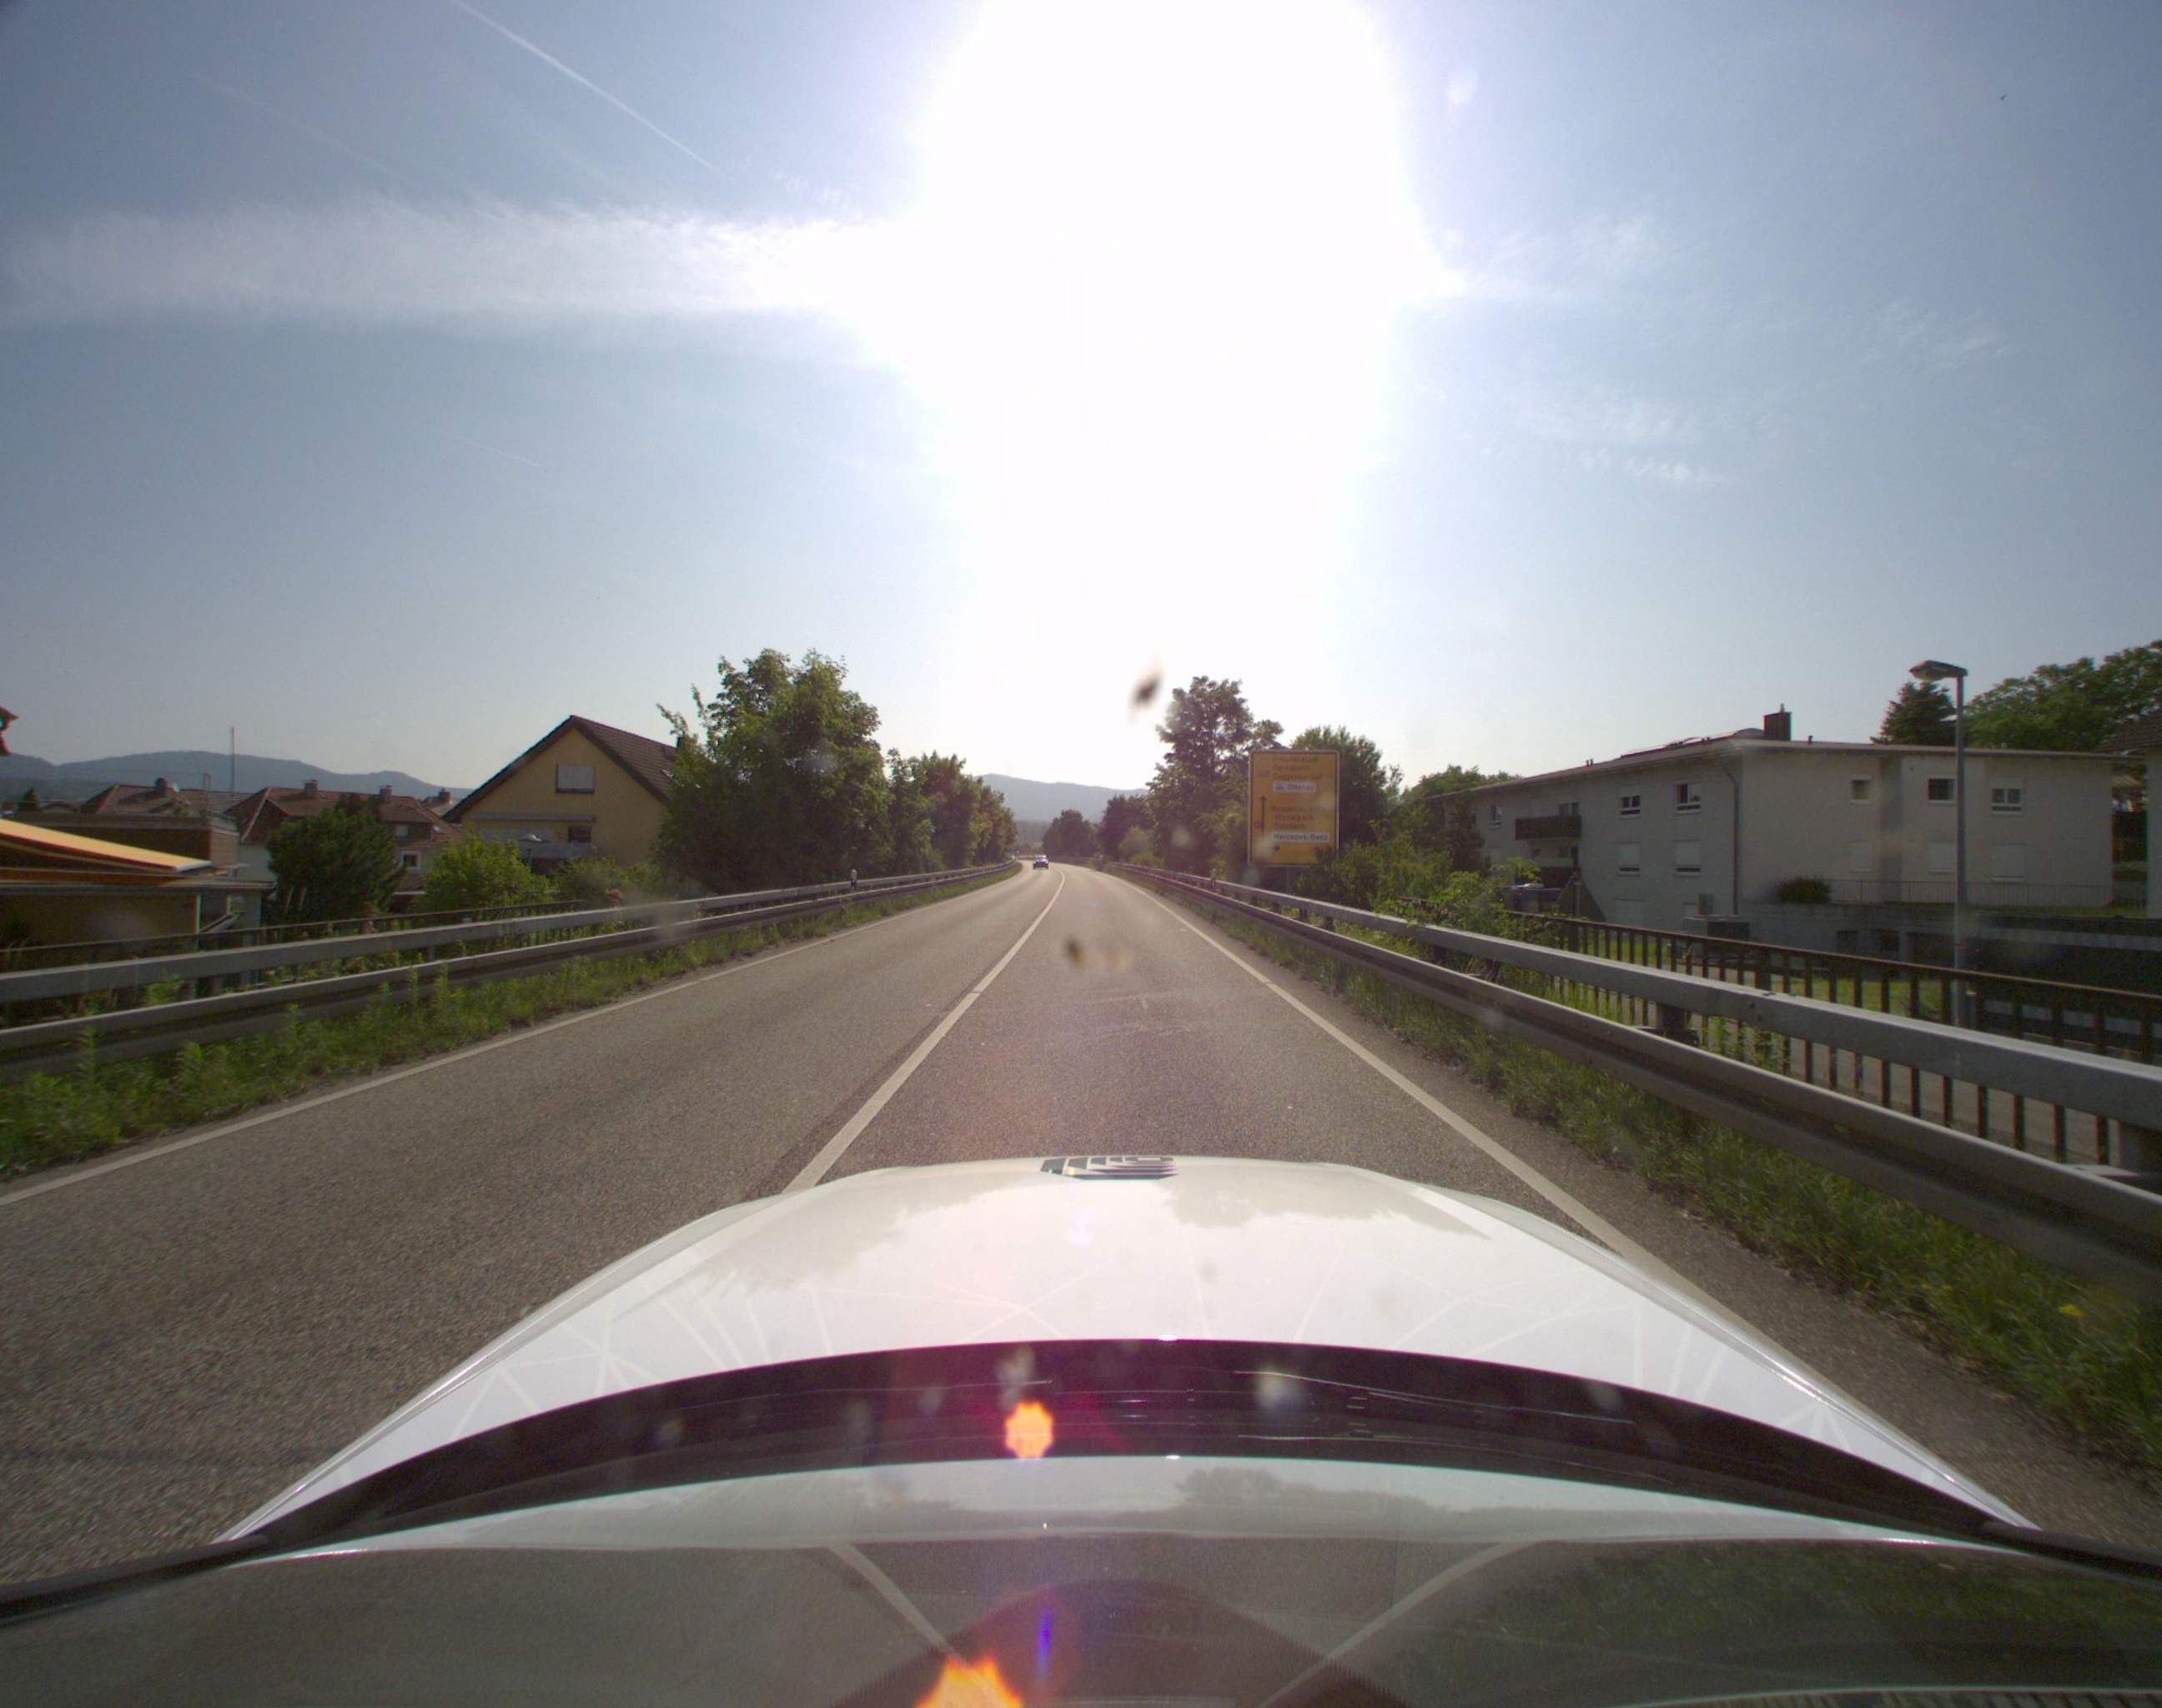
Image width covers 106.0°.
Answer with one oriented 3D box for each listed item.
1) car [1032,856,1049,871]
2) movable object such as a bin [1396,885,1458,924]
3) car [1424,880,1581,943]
[{"bbox_3d":[-4.662,1.071,94.078,1.802,1.561,3.990,-2,0,-2],"label":"car"},{"bbox_3d":[19.270,2.786,45.398,2.774,2.013,1.587,1,0,0],"label":"movable object such as a bin"},{"bbox_3d":[19.384,2.643,37.691,6.052,2.688,2.312,1,-4,0],"label":"car"}]
